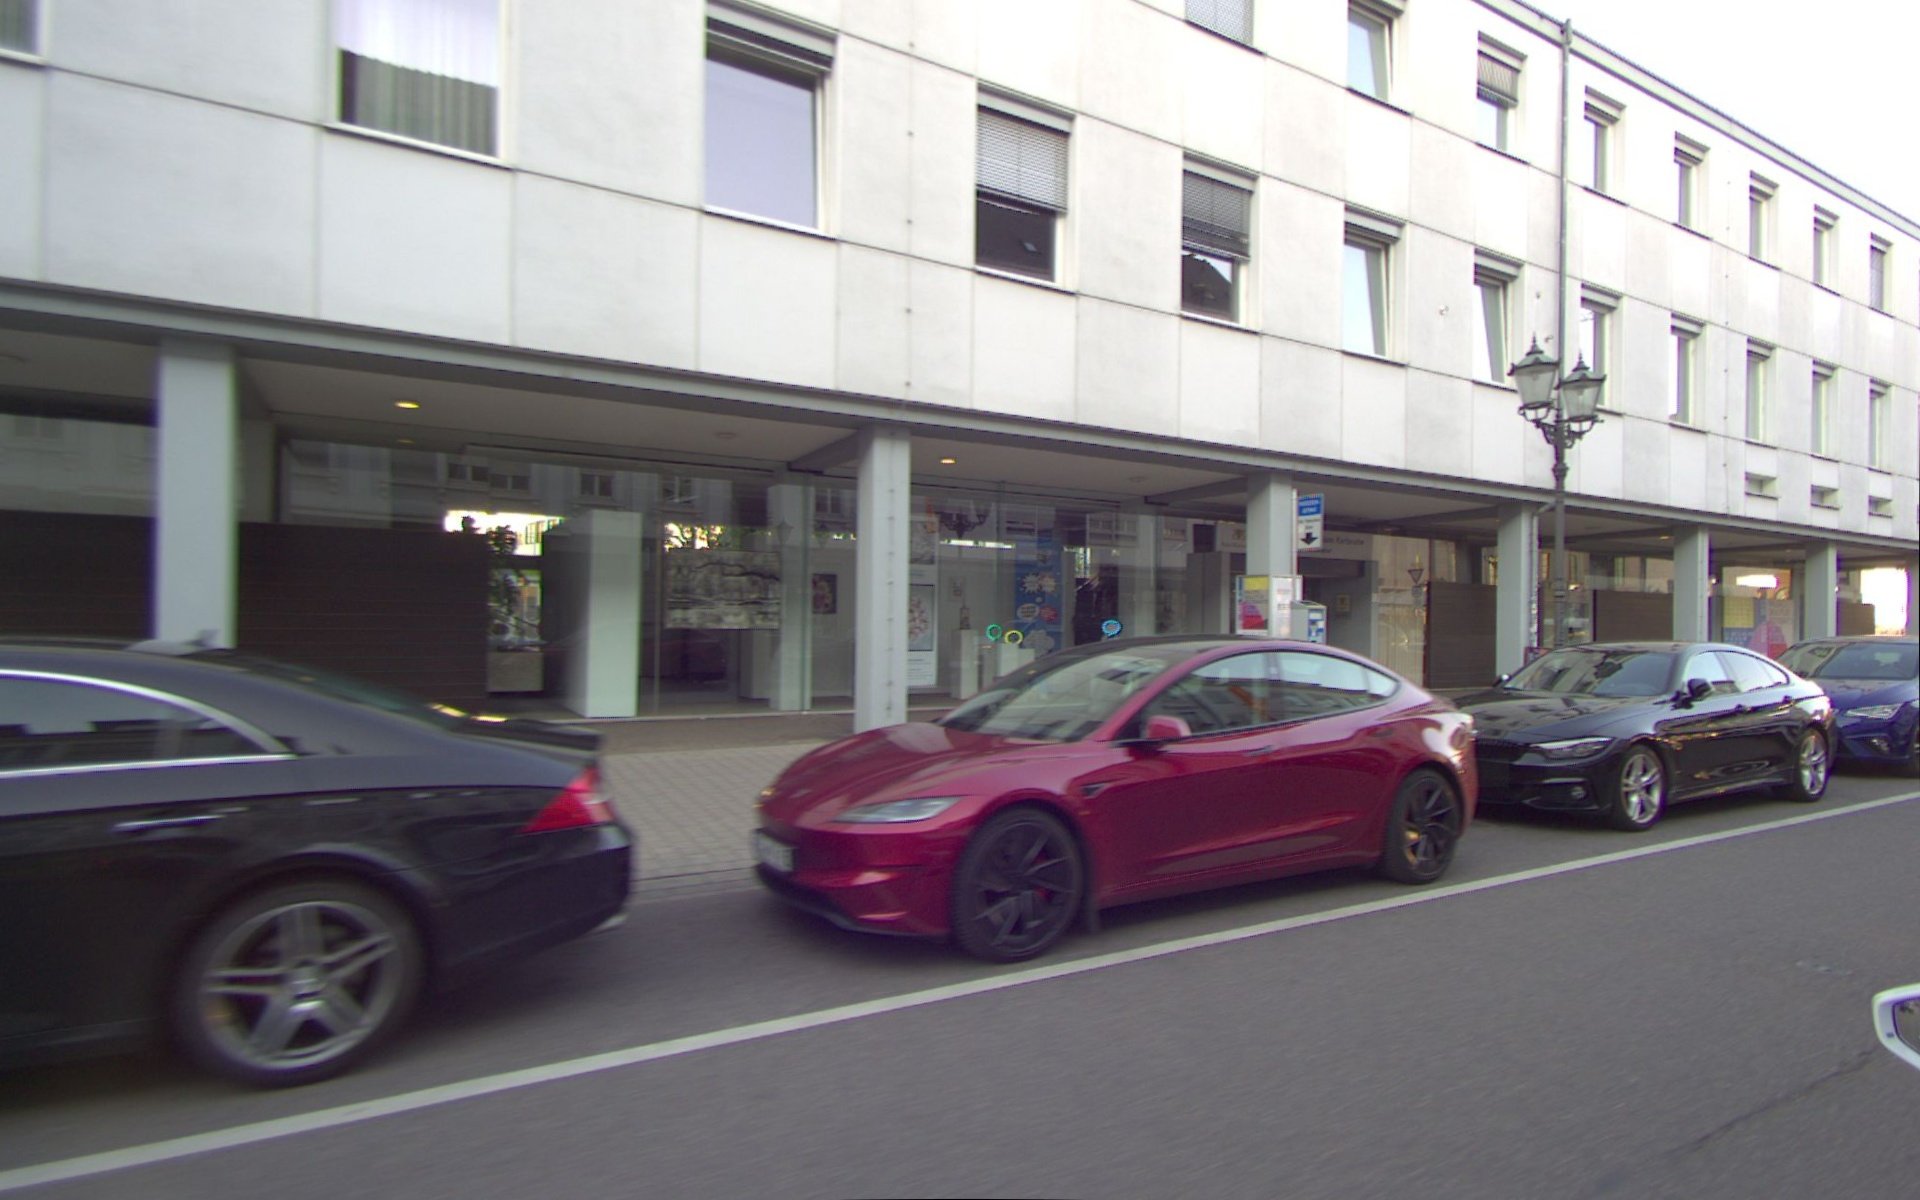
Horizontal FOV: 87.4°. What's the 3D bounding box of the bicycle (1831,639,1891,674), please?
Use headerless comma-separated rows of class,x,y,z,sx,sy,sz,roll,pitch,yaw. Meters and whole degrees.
bicycle,27.298,1.702,30.429,2.309,0.997,0.729,1,0,-32

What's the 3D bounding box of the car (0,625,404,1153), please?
car,-4.000,0.796,3.017,4.039,1.427,1.777,1,-1,-29

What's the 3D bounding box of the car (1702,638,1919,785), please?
car,10.458,1.159,11.599,3.954,1.418,1.665,1,-2,-31

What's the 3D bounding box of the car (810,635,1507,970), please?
car,1.296,0.951,6.176,4.039,1.427,1.777,1,-1,-29

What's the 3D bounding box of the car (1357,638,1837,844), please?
car,5.654,1.054,8.870,3.952,1.372,1.984,1,-1,-30

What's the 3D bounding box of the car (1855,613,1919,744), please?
car,14.922,1.087,14.269,4.462,1.751,1.985,1,-2,-30
